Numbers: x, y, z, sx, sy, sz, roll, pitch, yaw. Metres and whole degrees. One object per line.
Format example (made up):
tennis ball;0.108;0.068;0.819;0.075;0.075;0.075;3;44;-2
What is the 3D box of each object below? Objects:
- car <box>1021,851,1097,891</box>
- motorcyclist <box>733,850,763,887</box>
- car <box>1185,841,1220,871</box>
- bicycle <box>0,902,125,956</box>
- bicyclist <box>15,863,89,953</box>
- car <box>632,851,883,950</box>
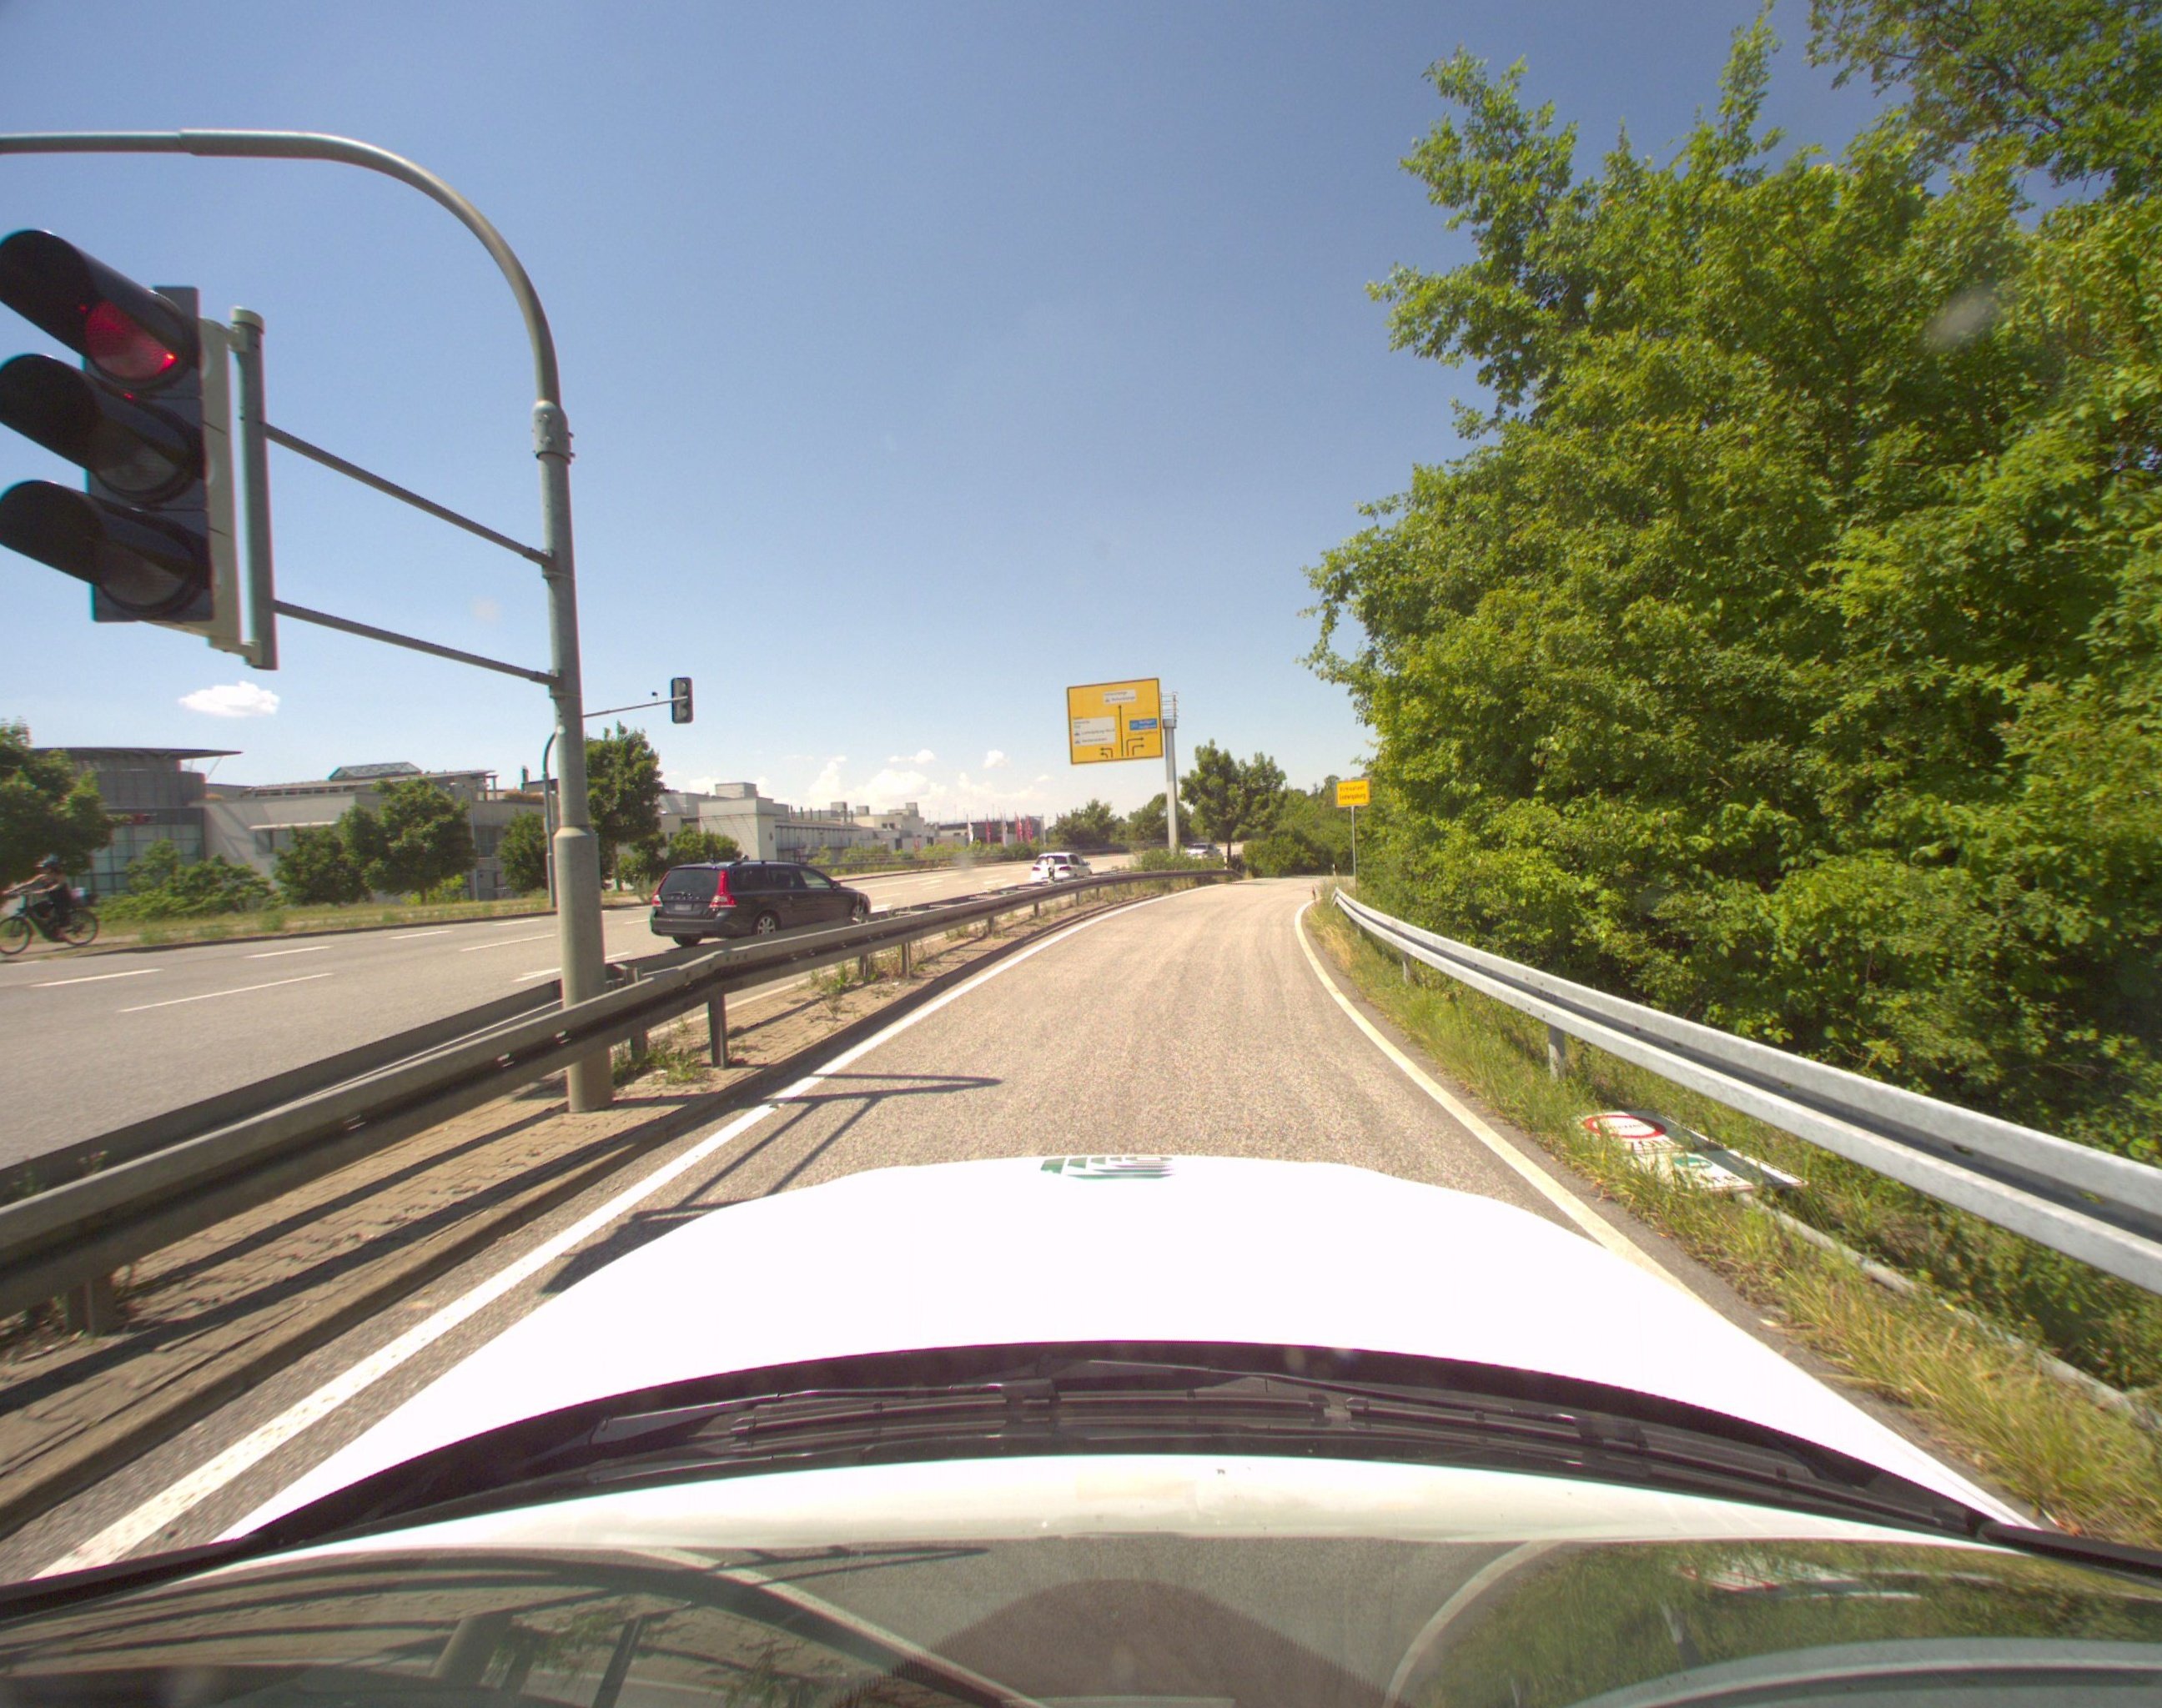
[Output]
car;-0.827;0.643;33.134;1.979;1.486;4.151;-2;0;14
motorcyclist;-12.291;0.537;30.103;0.671;1.303;0.724;-4;0;6
car;8.850;0.125;59.054;1.722;2.013;3.806;-4;0;19
bicycle;-20.343;1.455;16.099;0.533;0.852;2.122;-1;0;-6
bicyclist;-20.341;1.049;16.111;0.529;1.718;0.729;-1;0;-6
car;-5.785;0.750;15.354;1.717;1.545;4.756;-2;0;17
